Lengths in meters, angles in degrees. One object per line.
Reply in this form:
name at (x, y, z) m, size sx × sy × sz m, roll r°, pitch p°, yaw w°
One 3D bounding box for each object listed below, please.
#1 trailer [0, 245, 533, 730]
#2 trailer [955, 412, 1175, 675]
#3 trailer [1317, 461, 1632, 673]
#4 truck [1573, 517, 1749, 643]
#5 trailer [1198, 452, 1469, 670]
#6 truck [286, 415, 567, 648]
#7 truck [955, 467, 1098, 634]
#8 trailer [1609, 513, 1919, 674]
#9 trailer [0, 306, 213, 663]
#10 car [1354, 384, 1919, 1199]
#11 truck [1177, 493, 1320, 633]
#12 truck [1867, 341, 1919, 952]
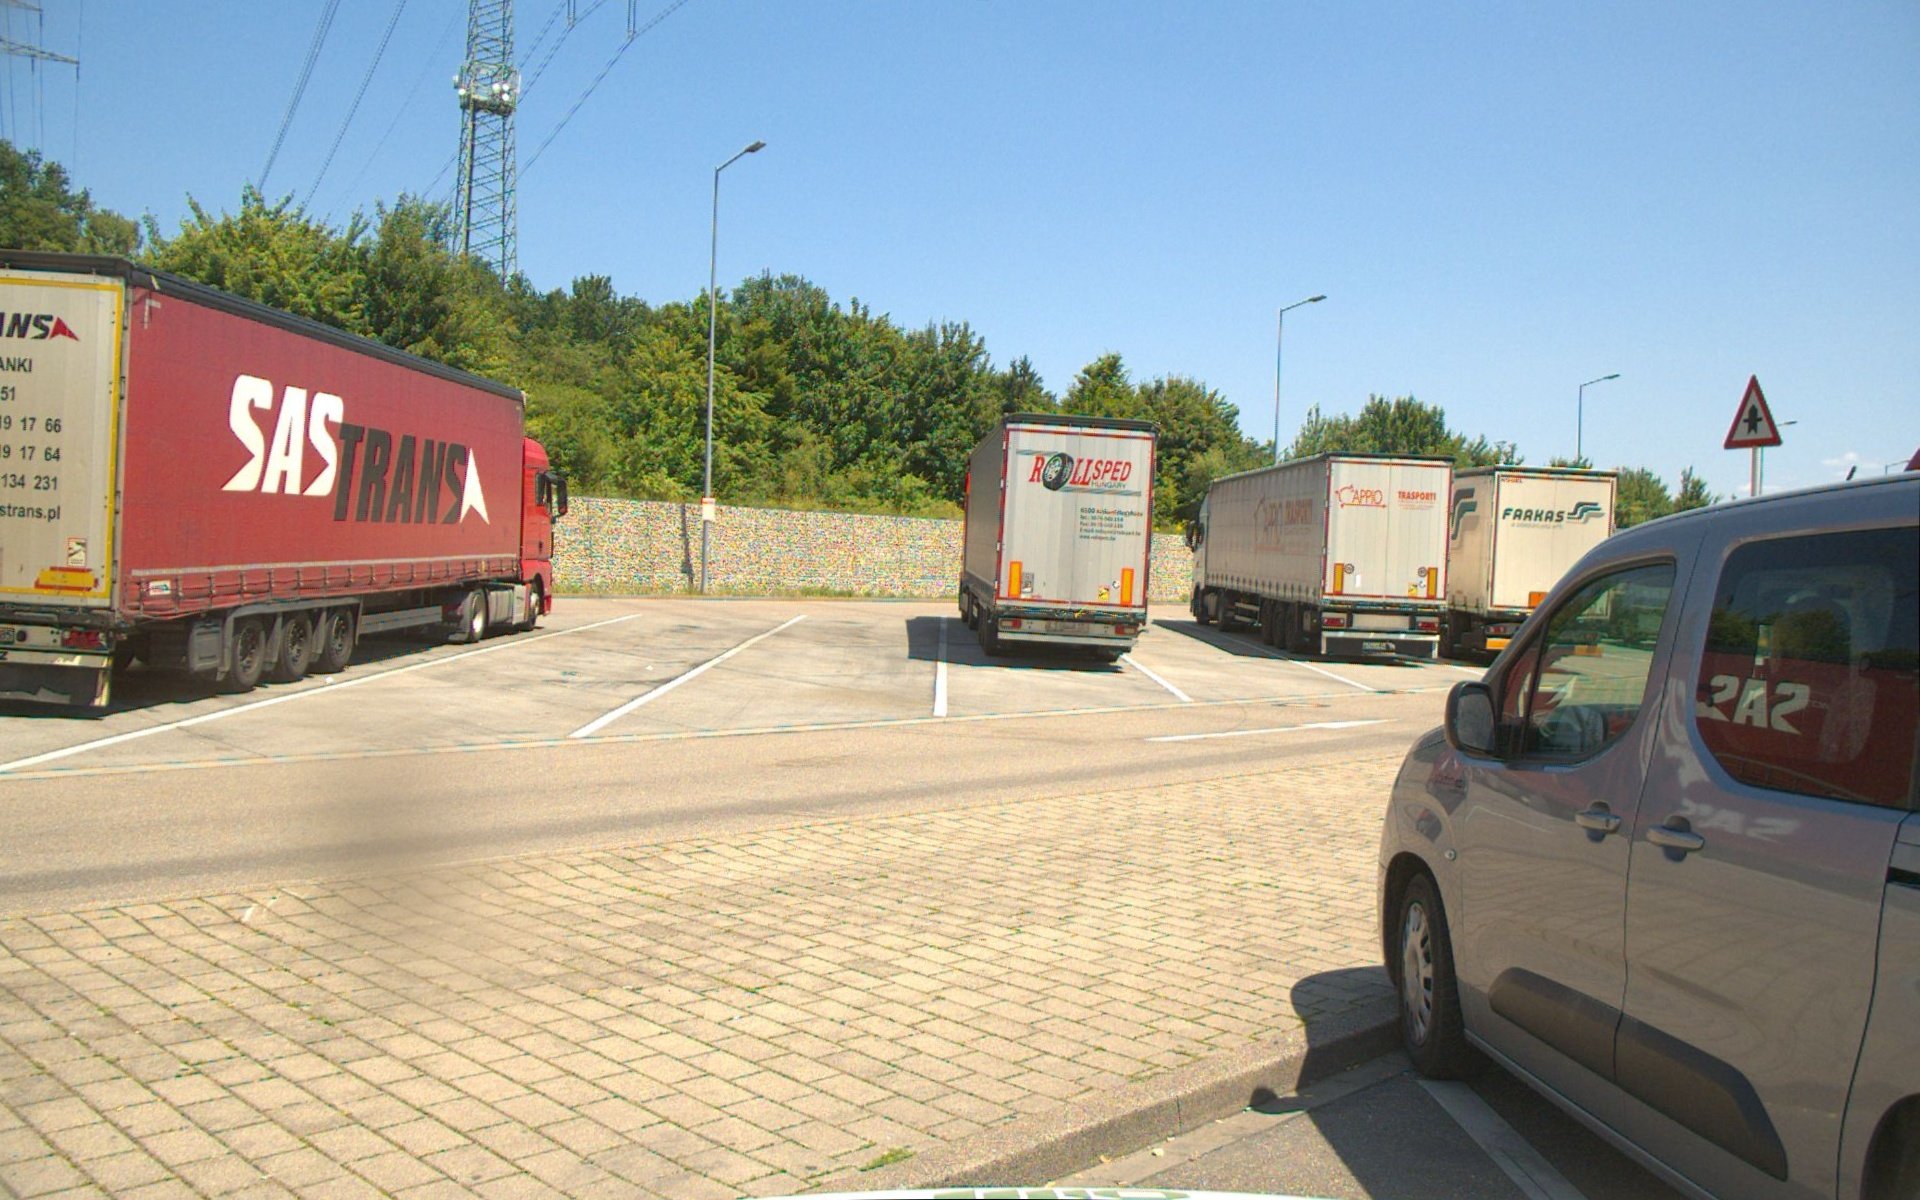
trailer at (-8.721, -1.292, 21.429) m, size 2.735 × 4.155 × 14.131 m, roll 3°, pitch 2°, yaw -1°
trailer at (1.662, -1.195, 33.636) m, size 3.070 × 4.058 × 14.393 m, roll 3°, pitch 2°, yaw -1°
trailer at (11.737, -0.937, 39.950) m, size 2.754 × 4.058 × 14.395 m, roll 3°, pitch 2°, yaw -1°
truck at (21.769, -0.697, 51.731) m, size 2.746 × 3.582 × 5.900 m, roll 3°, pitch 2°, yaw -1°
trailer at (8.174, -1.031, 38.845) m, size 2.754 × 4.058 × 14.395 m, roll 3°, pitch 2°, yaw -1°
truck at (-8.787, -1.151, 28.000) m, size 2.793 × 3.385 × 5.900 m, roll 3°, pitch 2°, yaw -1°
truck at (1.505, -1.239, 40.527) m, size 3.041 × 3.628 × 5.900 m, roll 3°, pitch 2°, yaw -1°
trailer at (21.847, -0.393, 44.501) m, size 2.754 × 3.568 × 14.395 m, roll 3°, pitch 2°, yaw -1°
trailer at (-12.548, -1.337, 17.707) m, size 2.739 × 4.155 × 14.131 m, roll 3°, pitch 2°, yaw -1°
car at (2.445, 0.597, 3.850) m, size 1.832 × 1.896 × 4.174 m, roll 3°, pitch 1°, yaw -2°
truck at (8.056, -1.092, 46.945) m, size 2.804 × 3.582 × 5.900 m, roll 3°, pitch 2°, yaw -1°
truck at (5.006, 0.194, 4.974) m, size 1.937 × 2.668 × 5.307 m, roll 1°, pitch 0°, yaw 4°
